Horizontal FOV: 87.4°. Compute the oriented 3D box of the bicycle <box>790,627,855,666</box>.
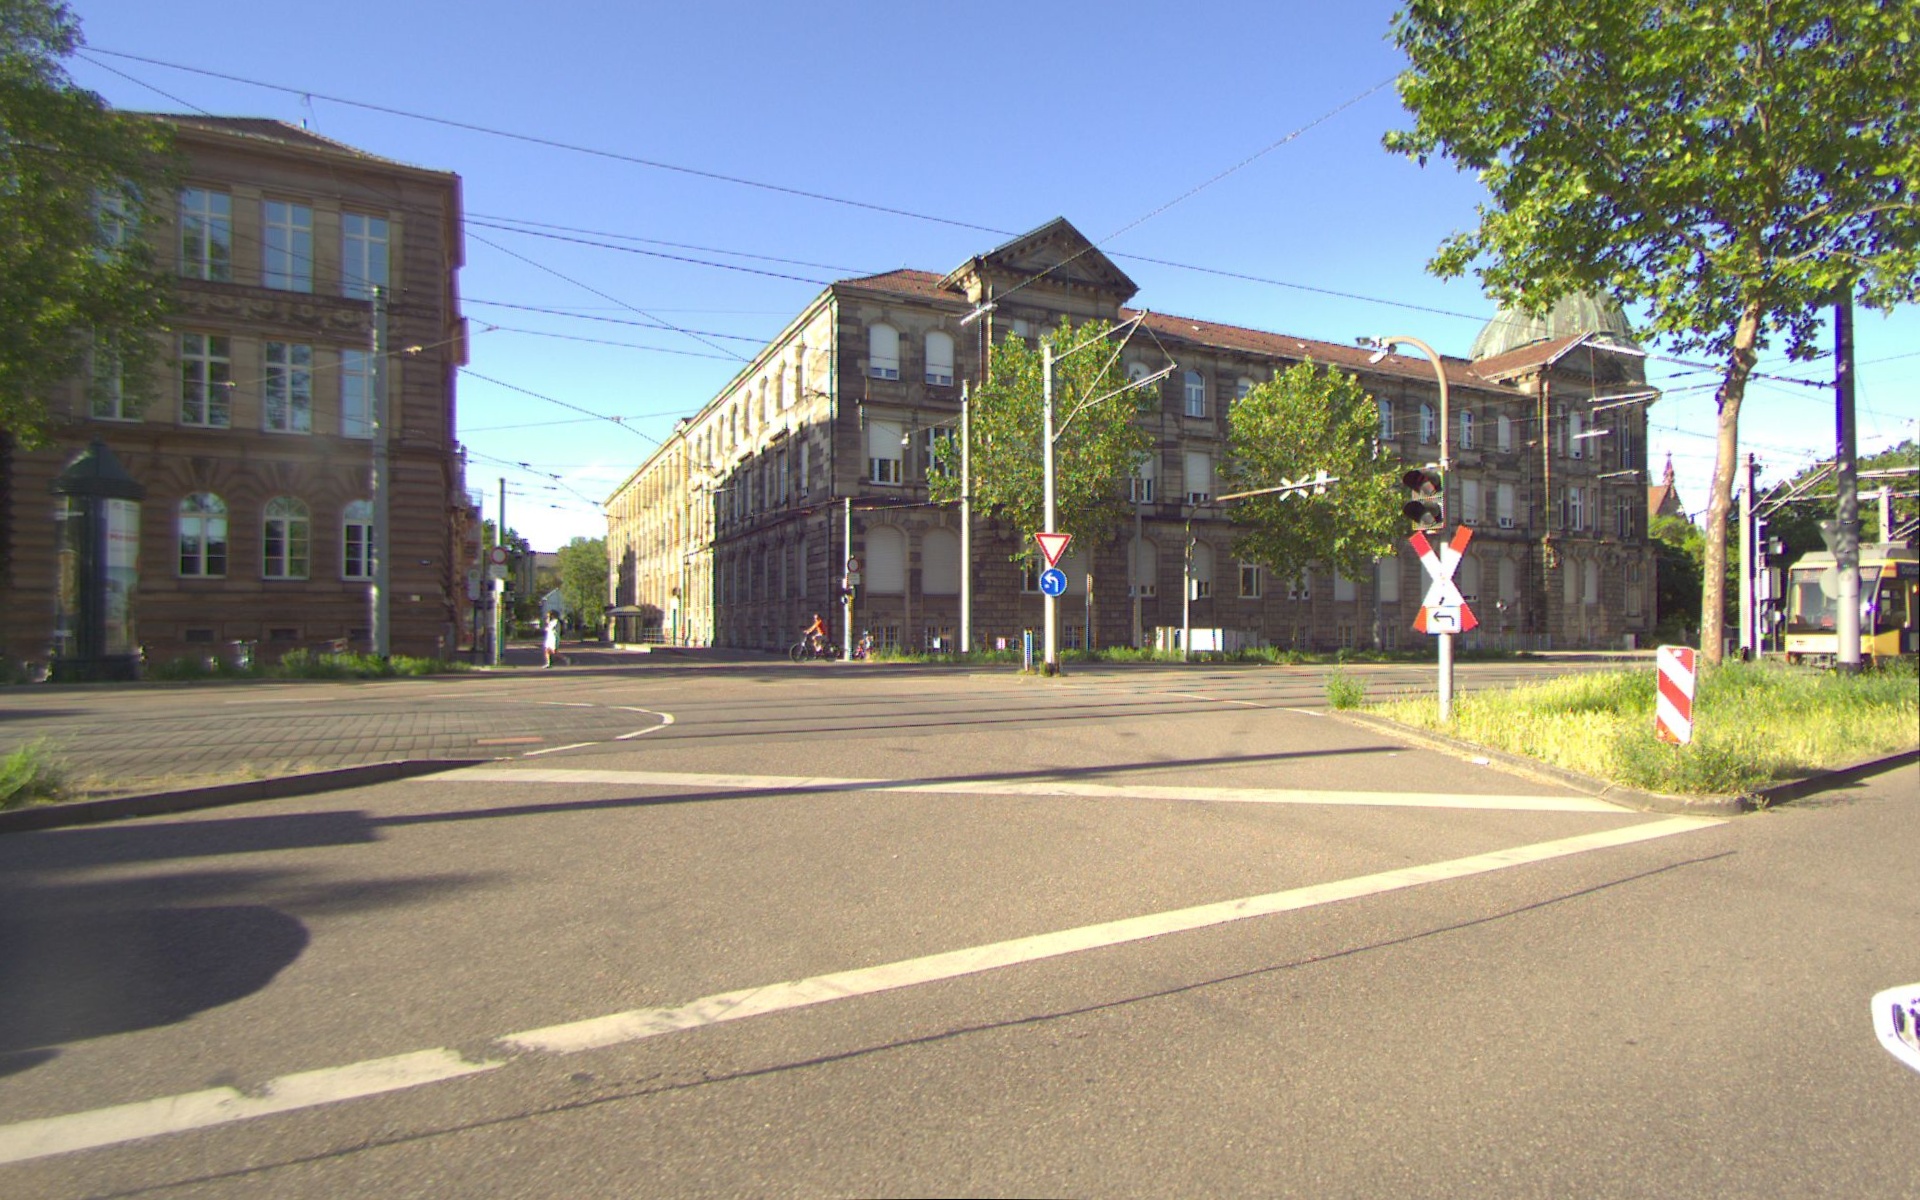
[{"bbox_3d":[-5.119,1.741,37.396,2.315,1.408,0.524,1,0,-19],"label":"bicycle"}]

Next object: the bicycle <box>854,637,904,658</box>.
[{"bbox_3d":[-3.116,1.824,38.836,1.863,0.732,0.526,1,0,1],"label":"bicycle"}]

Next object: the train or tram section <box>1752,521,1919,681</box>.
[{"bbox_3d":[27.934,0.125,29.138,14.107,3.863,2.914,1,0,-31],"label":"train or tram section"}]

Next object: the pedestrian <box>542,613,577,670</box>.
[{"bbox_3d":[-13.195,1.346,33.083,0.989,1.824,0.860,1,0,-25],"label":"pedestrian"}]

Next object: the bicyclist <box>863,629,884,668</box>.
[{"bbox_3d":[-3.339,1.868,38.847,0.716,1.481,0.797,1,0,0],"label":"bicyclist"}]

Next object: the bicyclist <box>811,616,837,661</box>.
[{"bbox_3d":[-5.067,1.419,37.421,0.857,1.646,0.673,0,0,-17],"label":"bicyclist"}]
